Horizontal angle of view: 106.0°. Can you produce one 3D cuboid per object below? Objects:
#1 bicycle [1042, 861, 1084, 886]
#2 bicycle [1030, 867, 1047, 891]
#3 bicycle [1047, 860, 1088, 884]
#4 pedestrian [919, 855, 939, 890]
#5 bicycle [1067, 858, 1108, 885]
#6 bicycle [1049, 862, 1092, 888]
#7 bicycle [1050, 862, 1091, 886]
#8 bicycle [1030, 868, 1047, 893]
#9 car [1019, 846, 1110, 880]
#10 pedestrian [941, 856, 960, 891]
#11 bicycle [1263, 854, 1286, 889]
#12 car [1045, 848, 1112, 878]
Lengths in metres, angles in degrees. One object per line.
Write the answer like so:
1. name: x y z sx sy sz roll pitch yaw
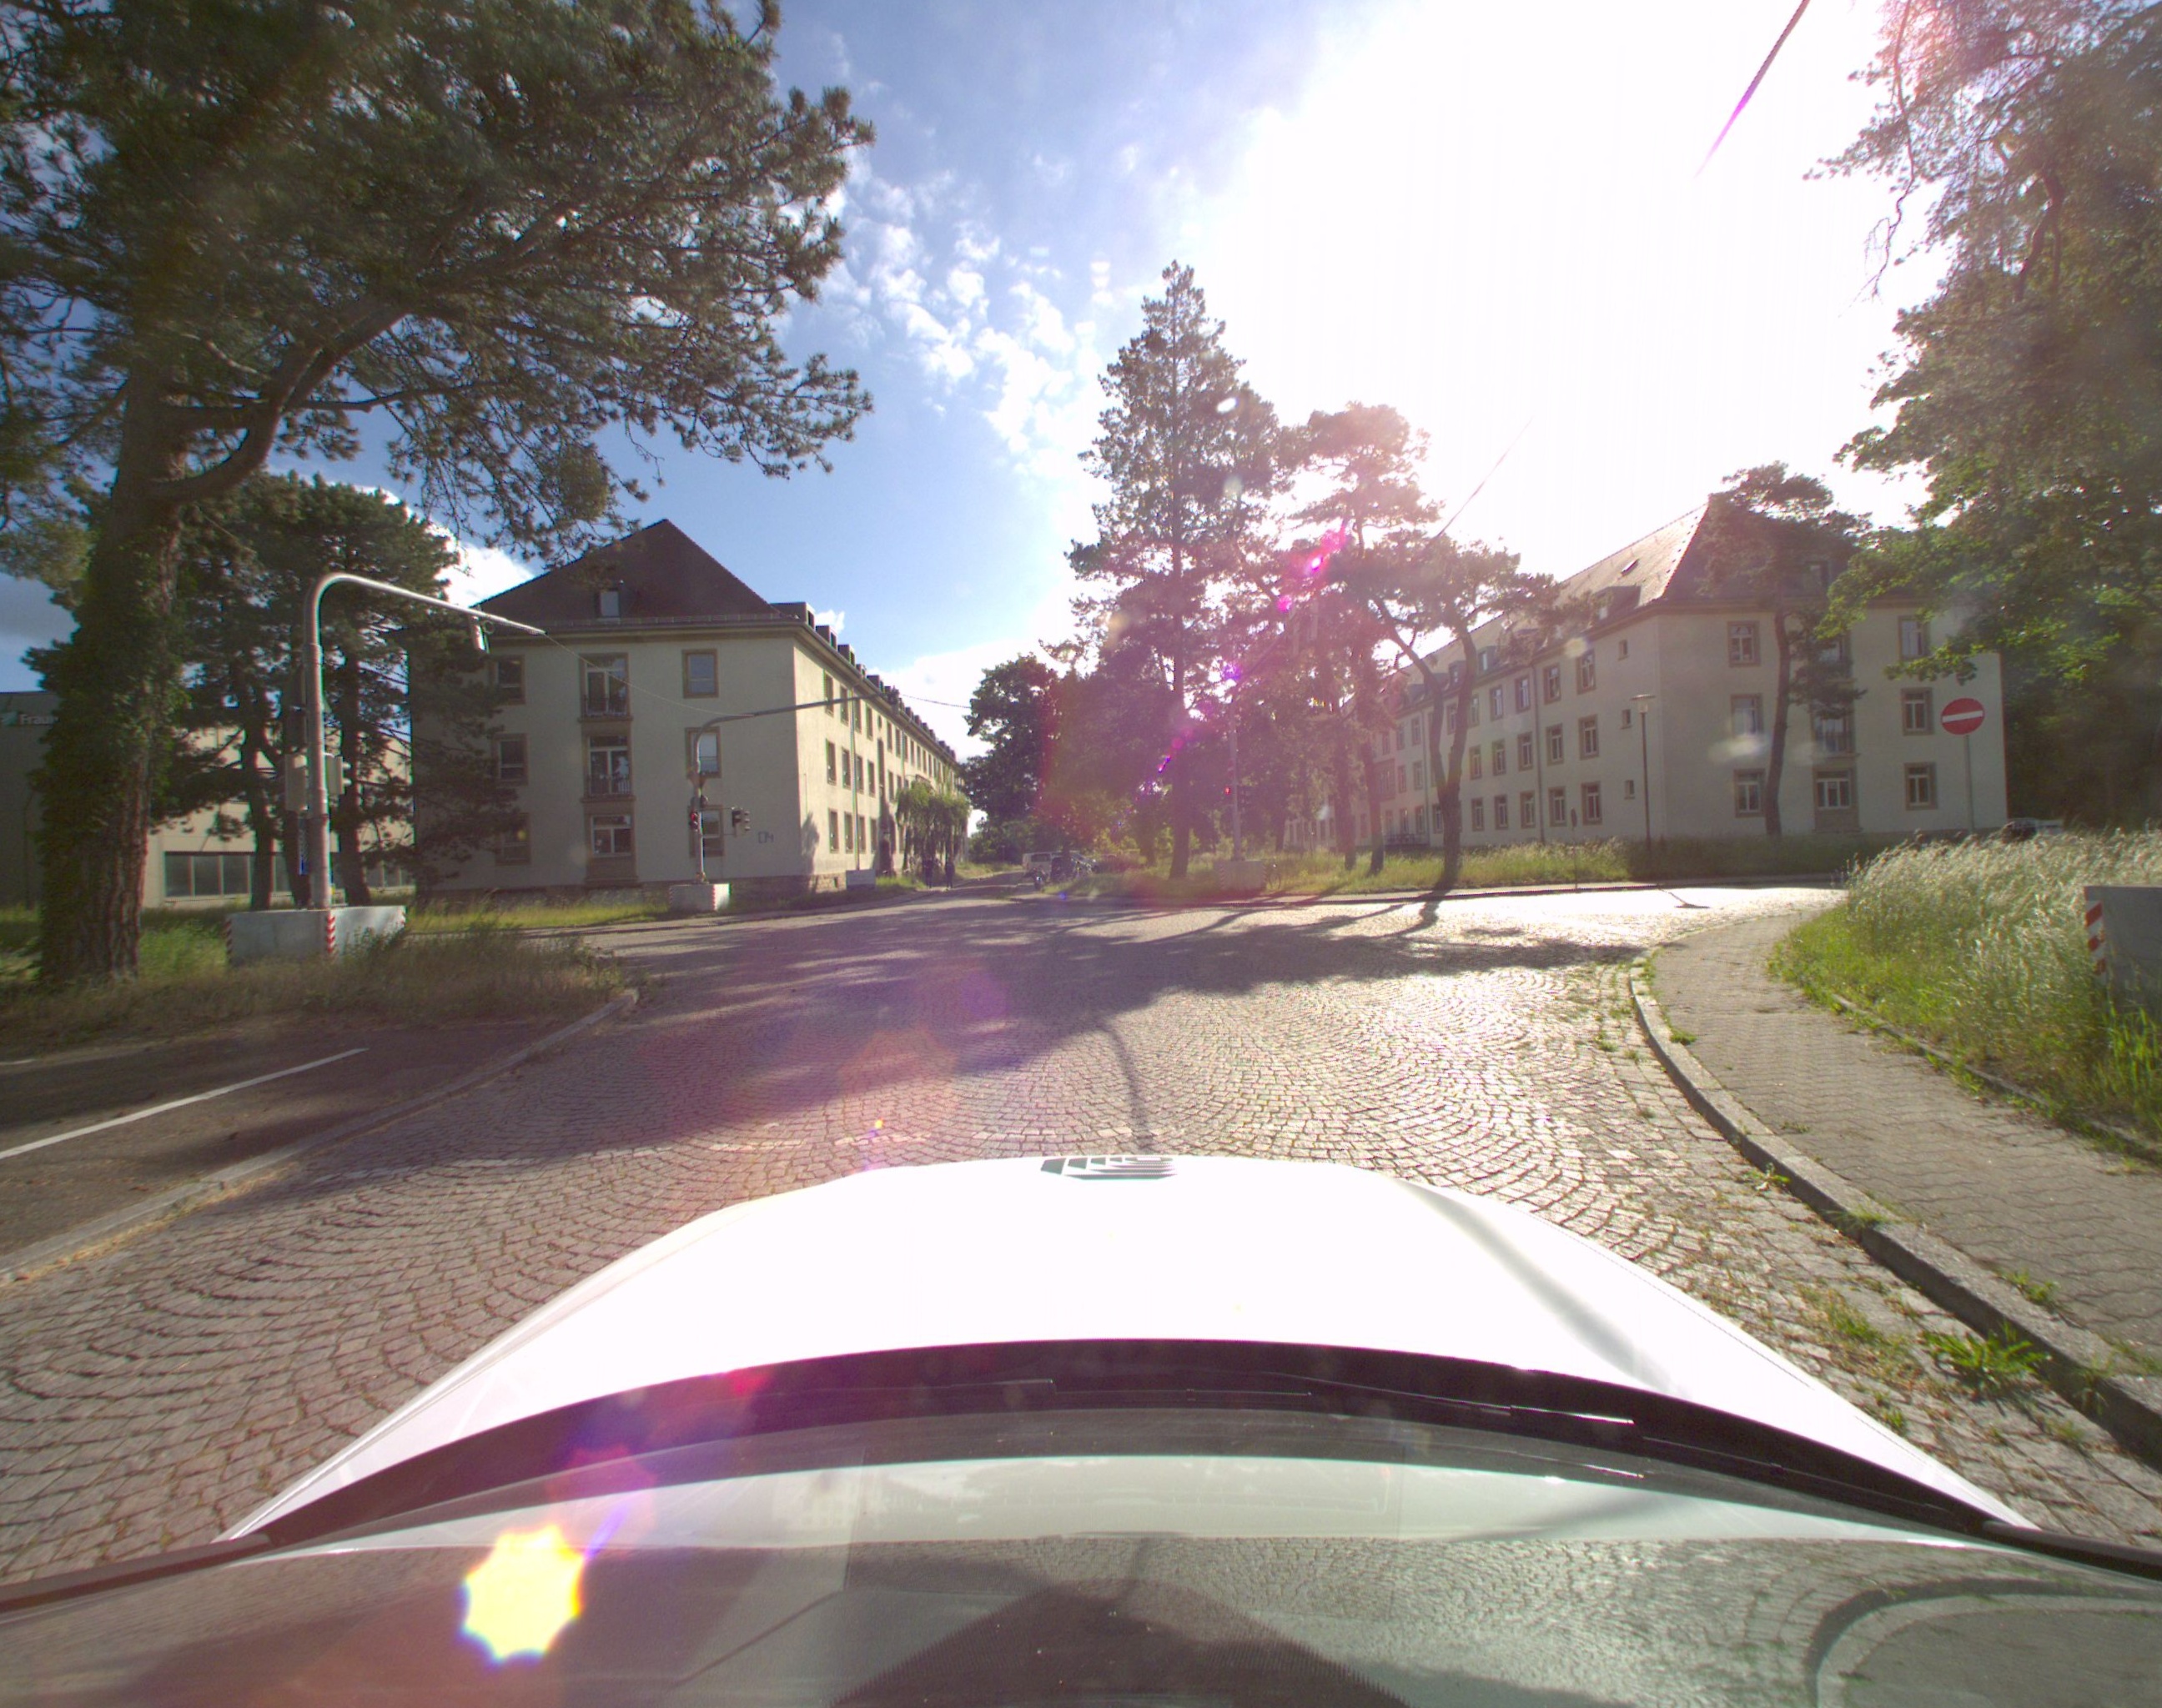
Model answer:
1. bicycle: -0.882 0.947 39.848 1.952 1.129 0.642 -2 0 -29
2. bicycle: -1.910 1.109 36.248 0.694 0.971 1.858 -2 0 -4
3. bicycle: -0.686 0.897 40.952 1.939 1.129 0.646 -2 0 -7
4. pedestrian: -8.077 0.989 43.207 0.807 1.817 0.556 -2 0 9
5. bicycle: 0.313 0.831 39.379 1.938 1.235 0.484 -2 0 -5
6. bicycle: -0.514 0.976 38.647 1.937 1.129 0.749 -2 0 -5
7. bicycle: -0.496 0.931 37.851 1.851 1.031 0.749 -2 0 -5
8. bicycle: -1.798 1.095 34.324 0.694 0.971 1.858 -2 0 -4
9. car: -1.144 0.610 55.918 5.929 2.013 2.468 -2 0 -9
10. pedestrian: -6.950 1.017 43.337 0.763 1.817 0.684 -2 0 9
11. bicycle: 6.156 0.554 25.973 0.464 1.080 1.174 -2 -1 2
12. car: -0.195 0.548 51.604 3.987 1.684 1.841 -2 0 -10
